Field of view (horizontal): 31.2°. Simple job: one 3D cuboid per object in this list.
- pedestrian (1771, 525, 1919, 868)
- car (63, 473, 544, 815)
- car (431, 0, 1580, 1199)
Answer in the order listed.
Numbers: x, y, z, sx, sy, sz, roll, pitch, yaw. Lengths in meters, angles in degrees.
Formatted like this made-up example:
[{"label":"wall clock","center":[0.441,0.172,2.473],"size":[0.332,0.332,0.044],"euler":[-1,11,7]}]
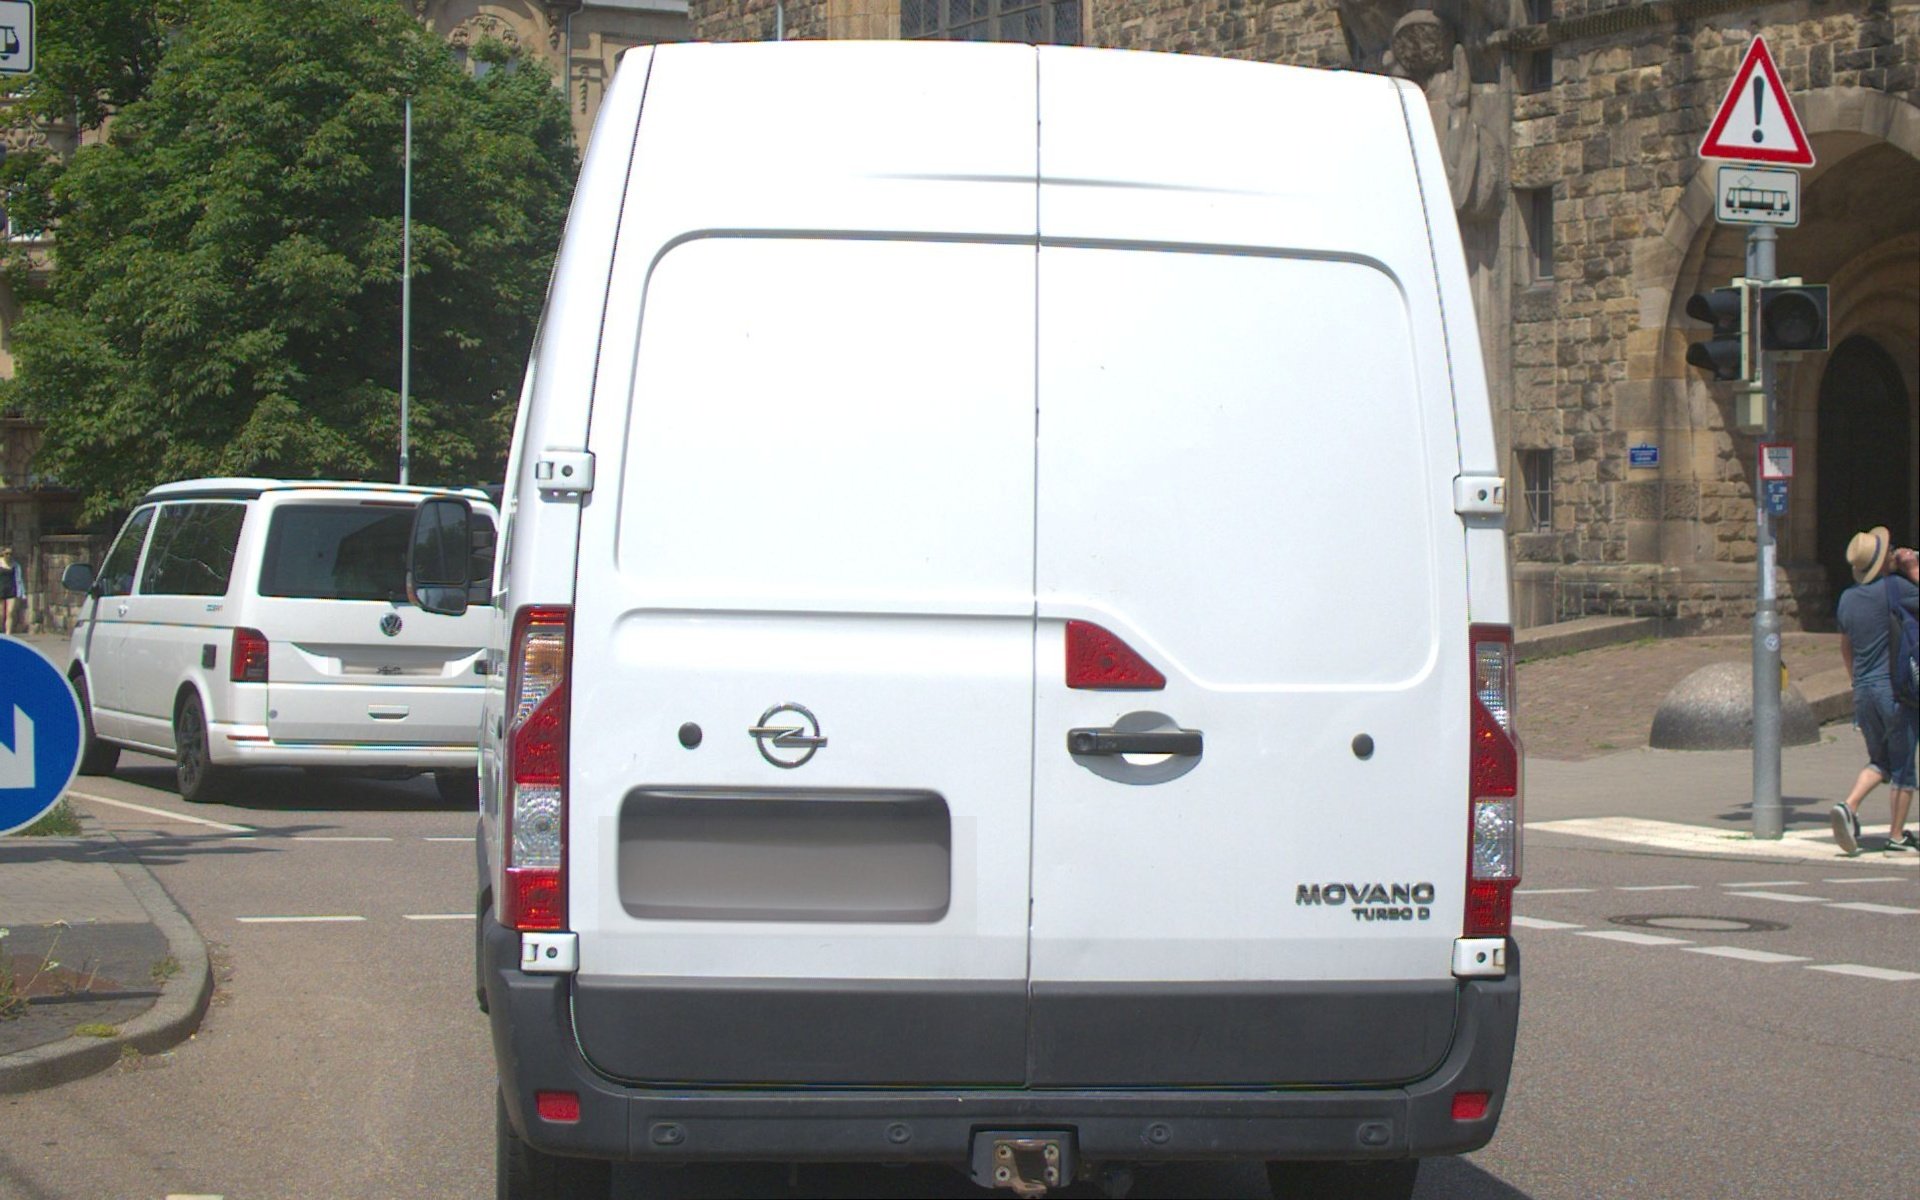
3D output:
[{"label":"pedestrian","center":[4.995,0.510,18.734],"size":[0.742,1.816,0.833],"euler":[1,0,-22]},{"label":"car","center":[-4.275,0.227,21.842],"size":[1.916,1.937,4.265],"euler":[1,1,-26]},{"label":"car","center":[-0.235,0.116,8.863],"size":[2.116,2.450,5.055],"euler":[1,1,-8]}]
